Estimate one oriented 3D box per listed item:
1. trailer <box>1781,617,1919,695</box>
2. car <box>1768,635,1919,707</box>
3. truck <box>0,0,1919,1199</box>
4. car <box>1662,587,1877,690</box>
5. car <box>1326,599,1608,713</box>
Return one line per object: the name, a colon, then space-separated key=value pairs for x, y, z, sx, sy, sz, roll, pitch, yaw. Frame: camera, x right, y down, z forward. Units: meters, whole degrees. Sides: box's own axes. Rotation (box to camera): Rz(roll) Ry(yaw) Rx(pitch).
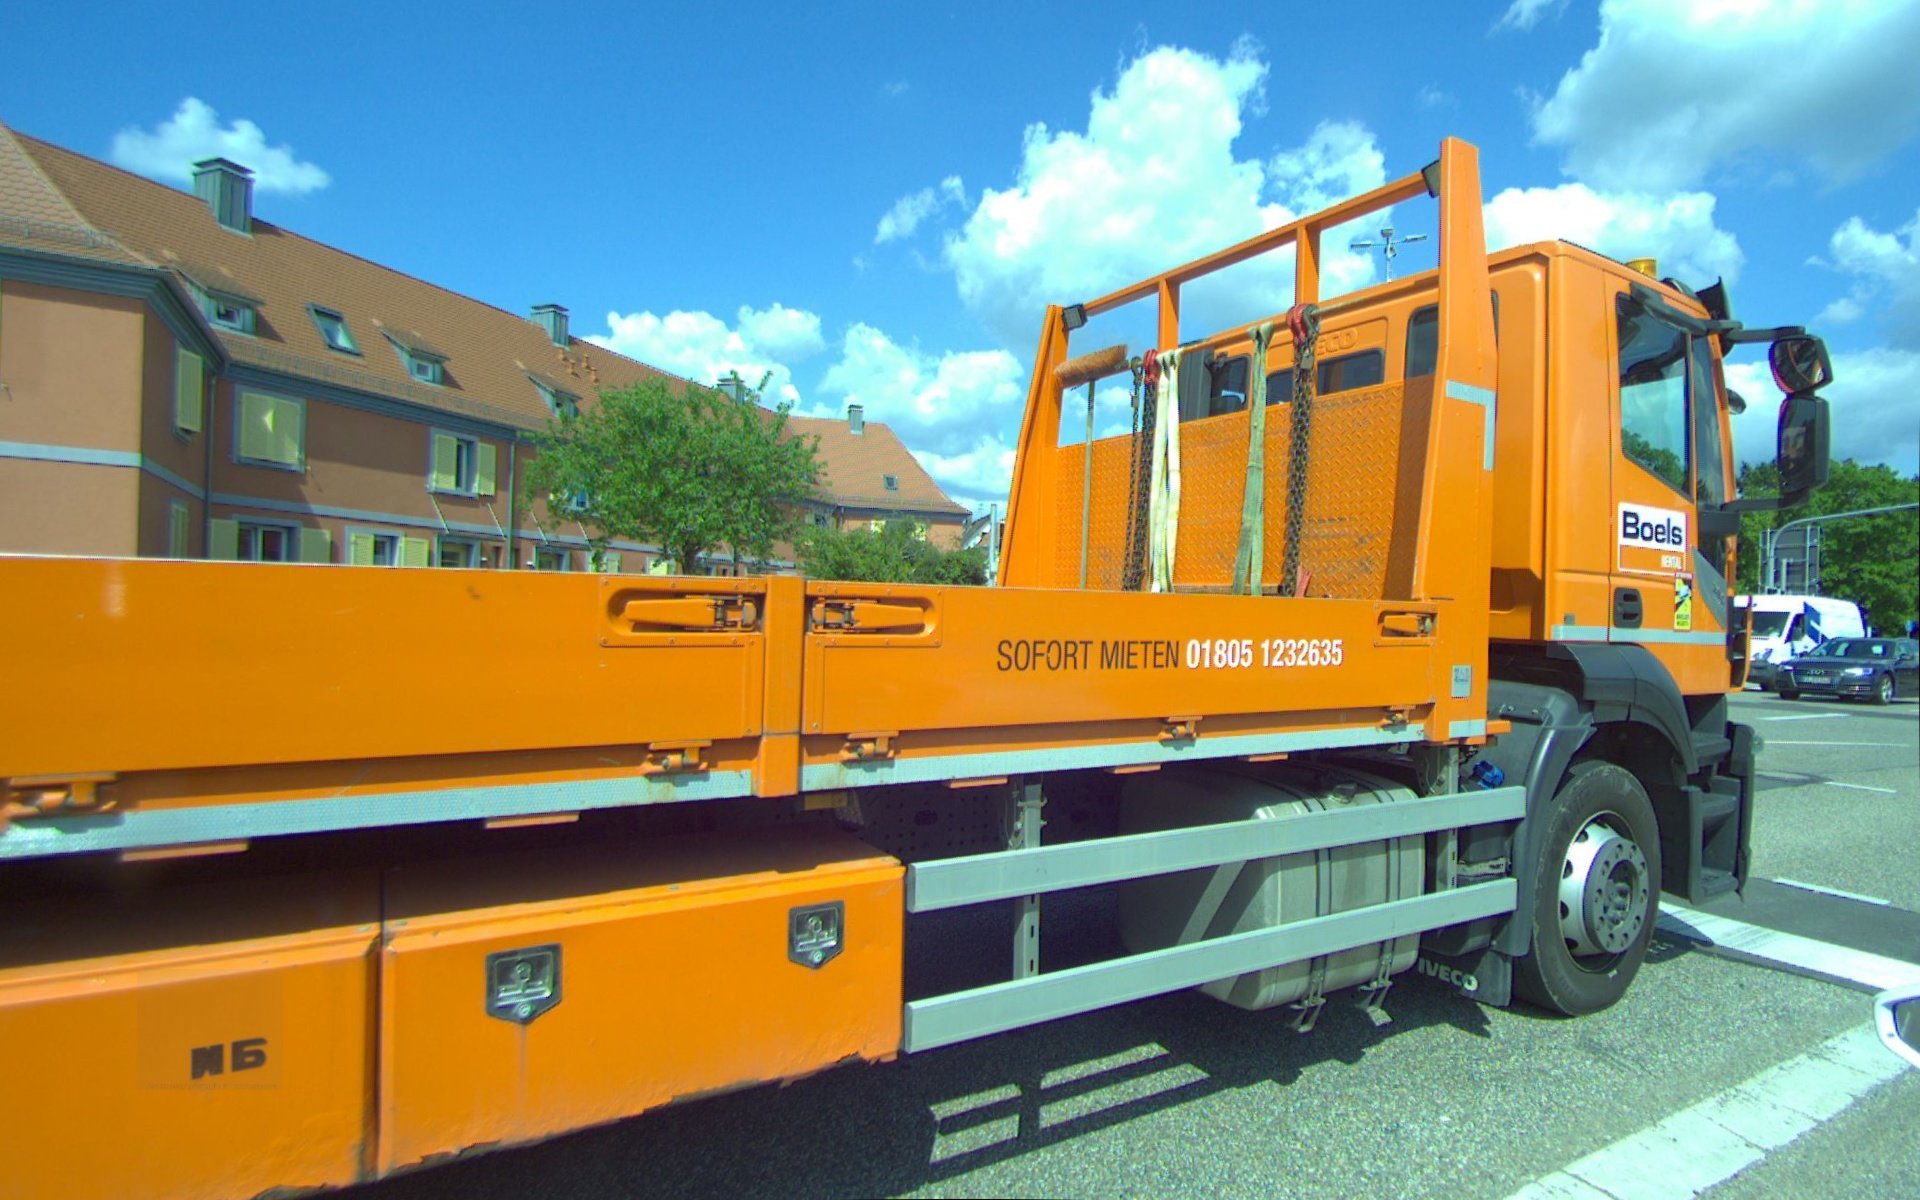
trailer: x=26.913 y=1.653 z=29.690 sx=5.094 sy=2.040 sz=2.117 roll=3 pitch=1 yaw=-26
car: x=19.301 y=1.519 z=21.696 sx=3.478 sy=1.370 sz=1.755 roll=3 pitch=-1 yaw=-30
truck: x=-1.632 y=-0.533 z=2.660 sx=10.938 sy=3.459 sz=3.056 roll=3 pitch=1 yaw=-30
car: x=21.983 y=1.061 z=27.232 sx=5.889 sy=2.504 sz=2.166 roll=3 pitch=1 yaw=-26
car: x=8.062 y=0.882 z=15.917 sx=4.252 sy=1.564 sz=1.729 roll=3 pitch=1 yaw=-26
